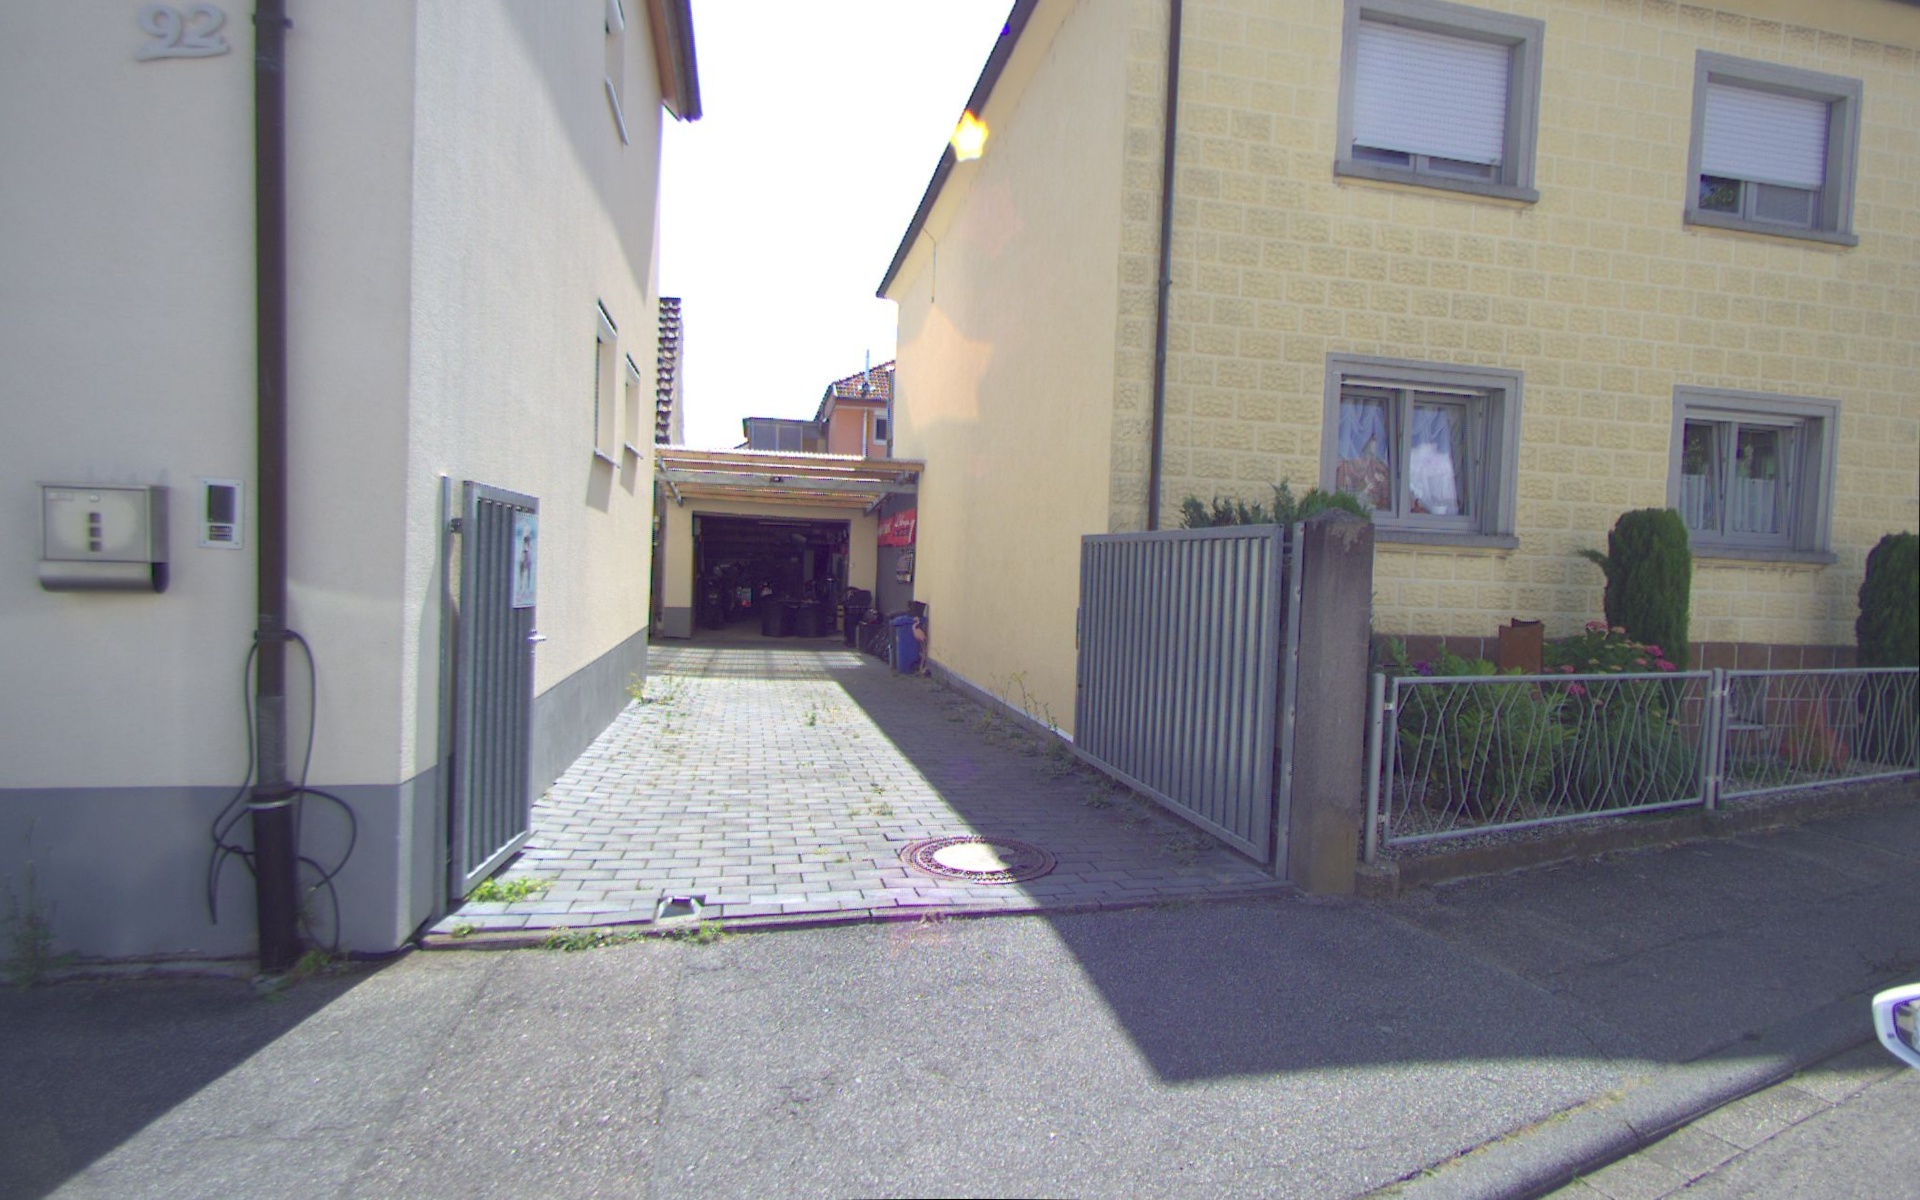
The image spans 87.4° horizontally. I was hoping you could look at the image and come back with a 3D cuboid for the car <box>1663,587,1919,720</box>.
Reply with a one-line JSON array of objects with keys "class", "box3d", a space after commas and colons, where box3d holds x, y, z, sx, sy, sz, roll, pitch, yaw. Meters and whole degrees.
[{"class": "car", "box3d": [12.466, 0.655, 14.344, 1.756, 1.505, 4.473, 2, 2, 2]}]
